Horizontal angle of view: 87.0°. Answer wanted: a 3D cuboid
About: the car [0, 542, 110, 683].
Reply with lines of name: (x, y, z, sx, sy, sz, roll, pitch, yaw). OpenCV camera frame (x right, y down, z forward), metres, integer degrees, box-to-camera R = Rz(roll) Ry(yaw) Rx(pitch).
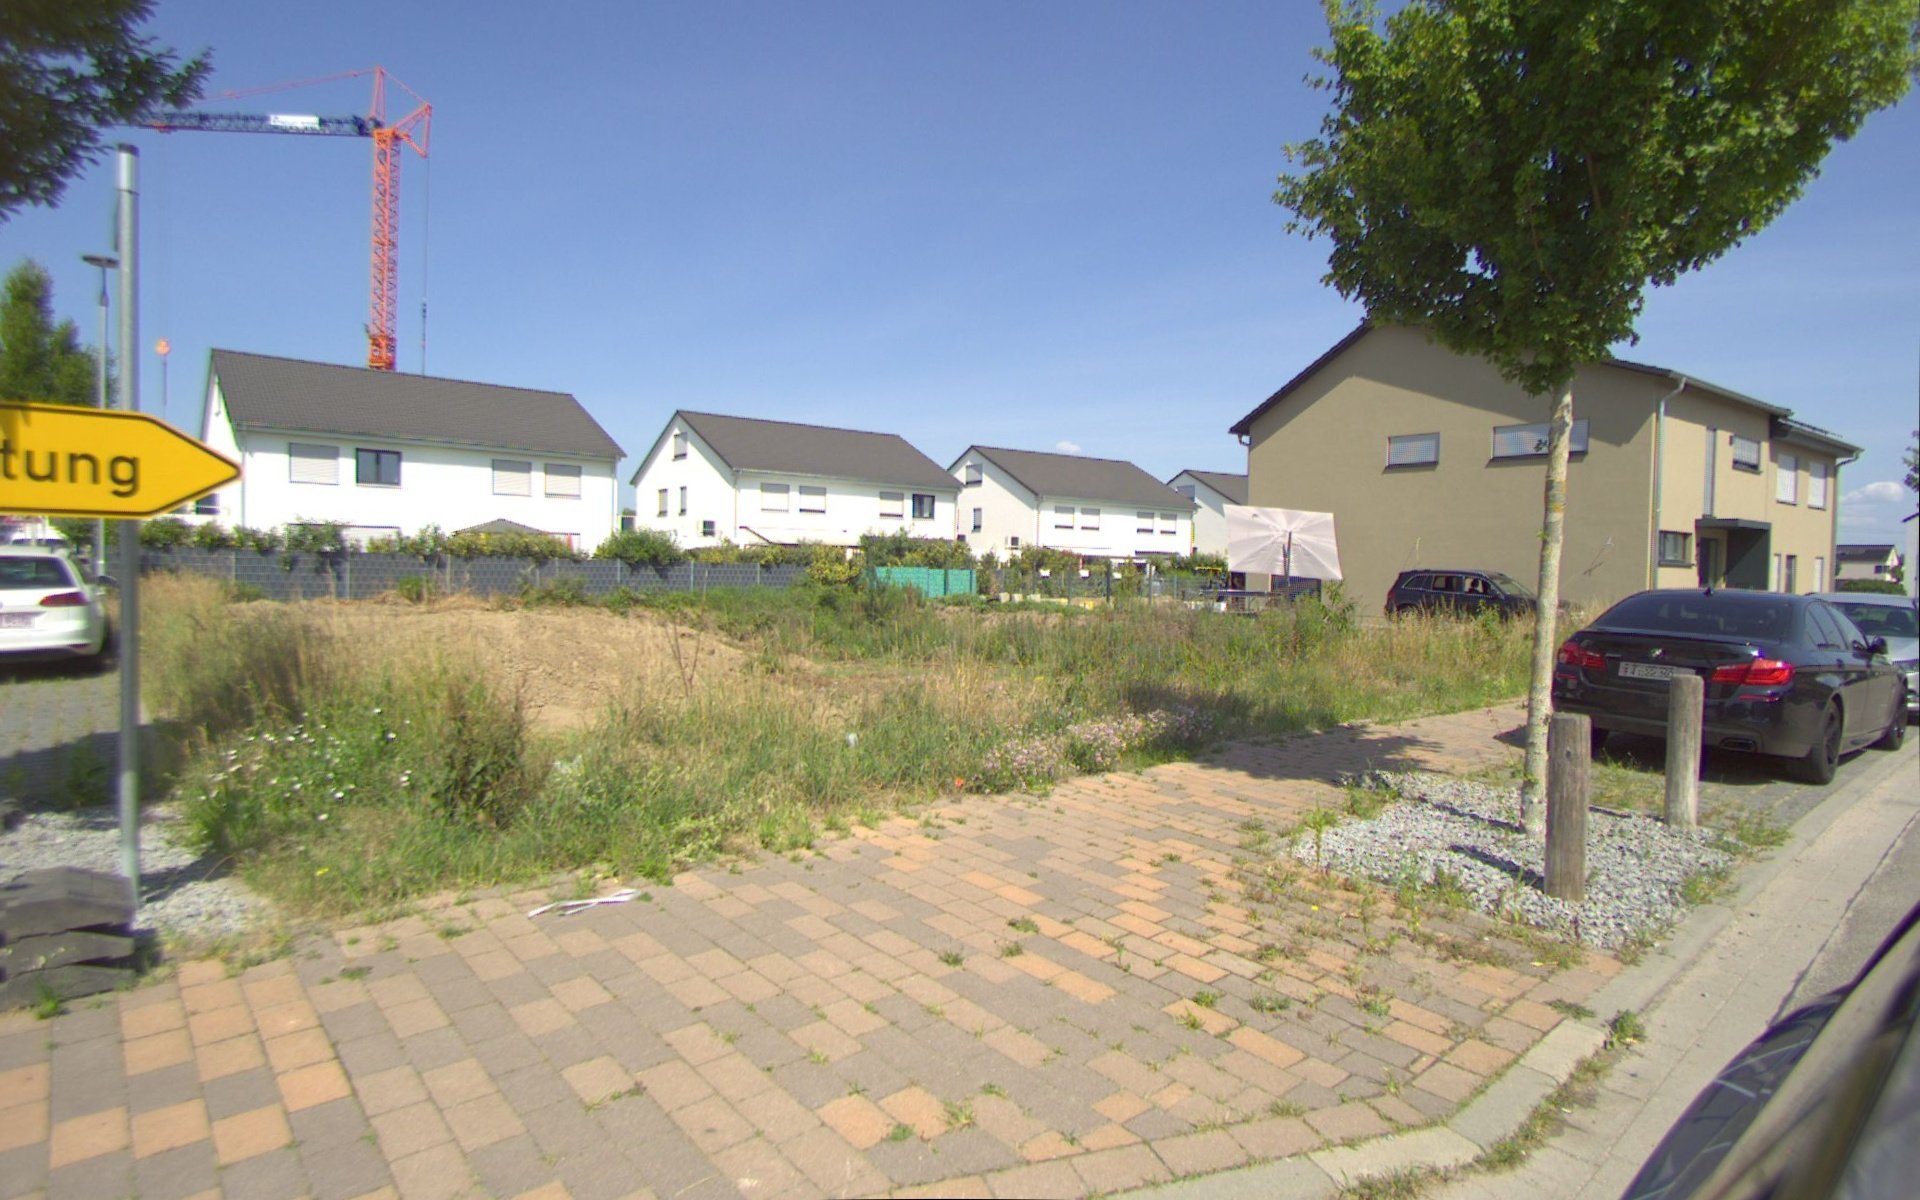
car: (-11.397, 0.045, 12.049, 1.850, 1.453, 4.166, -2, 4, -41)

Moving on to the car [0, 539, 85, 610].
car: (-21.249, -0.637, 23.120, 1.850, 1.496, 4.166, -2, 3, -41)

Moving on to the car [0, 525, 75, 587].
car: (-29.656, -1.425, 32.487, 1.850, 1.859, 4.166, -2, 3, -41)

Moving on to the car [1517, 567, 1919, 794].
car: (7.265, 0.550, 9.304, 5.046, 1.487, 1.924, 1, 3, -39)

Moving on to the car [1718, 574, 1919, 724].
car: (11.796, 0.523, 13.181, 5.201, 1.529, 1.923, 0, 3, -41)

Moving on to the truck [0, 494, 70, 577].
truck: (-40.914, -2.673, 42.149, 2.252, 3.432, 6.984, -1, 3, -8)

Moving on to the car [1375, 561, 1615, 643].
car: (12.905, -0.044, 24.681, 1.964, 1.664, 4.759, -1, 4, -38)
